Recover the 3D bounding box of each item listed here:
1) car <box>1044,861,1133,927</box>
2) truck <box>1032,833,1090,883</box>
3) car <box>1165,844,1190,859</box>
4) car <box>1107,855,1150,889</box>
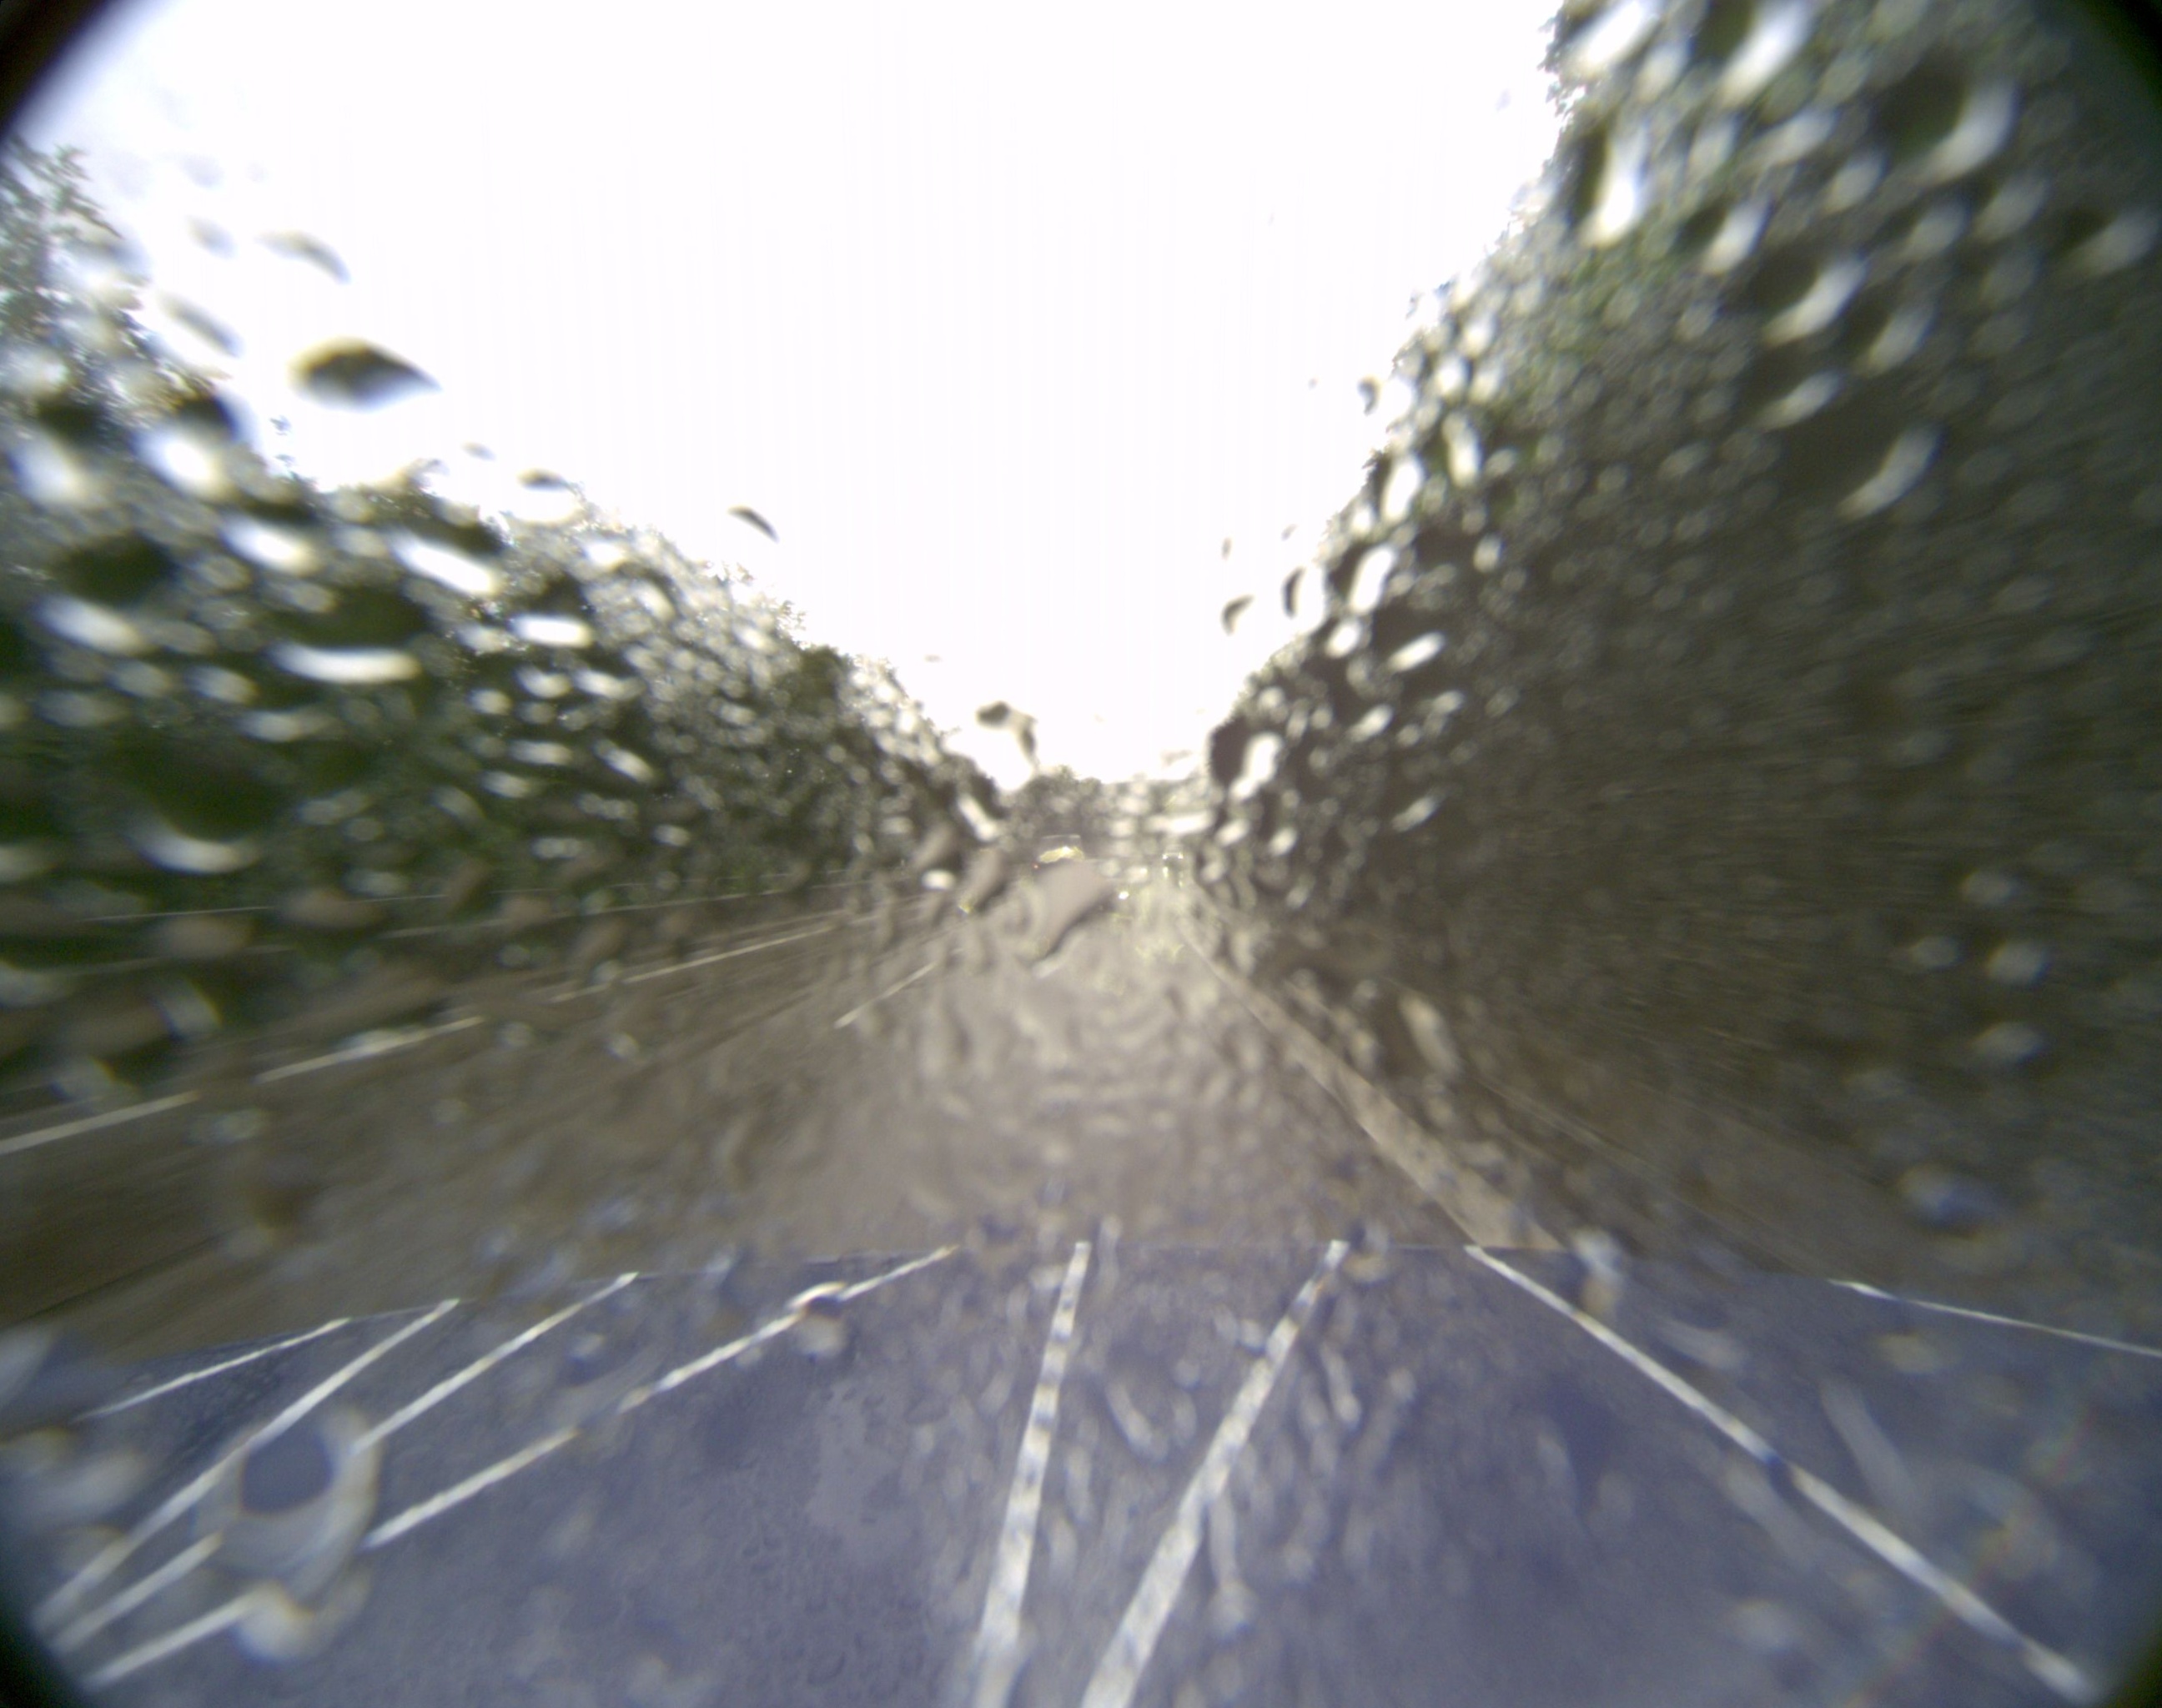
[{"bbox_3d":[0.308,0.940,19.296,1.826,1.375,4.002,-2,0,6],"label":"car"},{"bbox_3d":[-0.970,0.184,42.563,2.107,2.481,8.006,-1,0,7],"label":"truck"},{"bbox_3d":[9.674,-0.247,76.223,1.825,1.375,4.004,-4,0,16],"label":"car"},{"bbox_3d":[2.314,0.815,36.534,1.827,1.375,4.001,-4,0,5],"label":"car"}]
